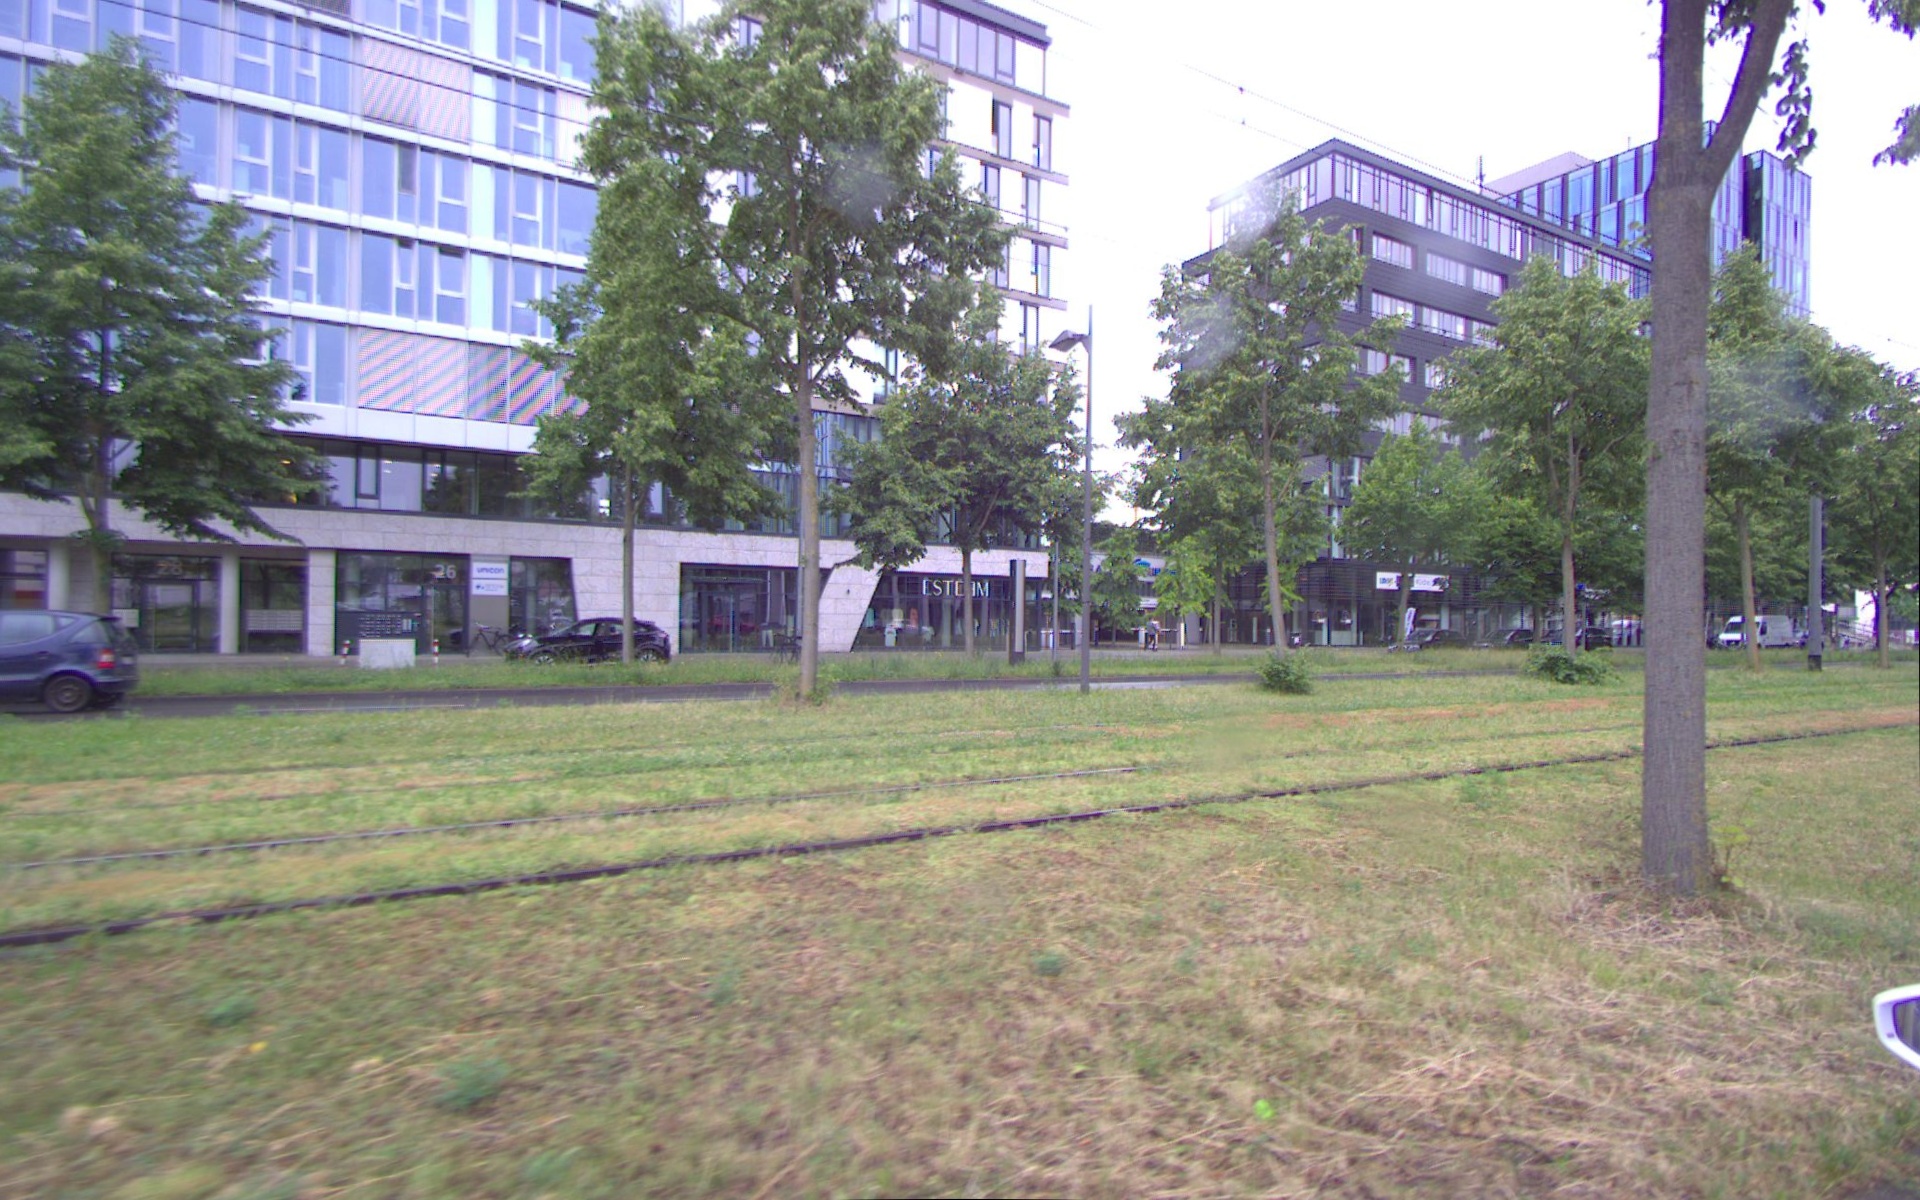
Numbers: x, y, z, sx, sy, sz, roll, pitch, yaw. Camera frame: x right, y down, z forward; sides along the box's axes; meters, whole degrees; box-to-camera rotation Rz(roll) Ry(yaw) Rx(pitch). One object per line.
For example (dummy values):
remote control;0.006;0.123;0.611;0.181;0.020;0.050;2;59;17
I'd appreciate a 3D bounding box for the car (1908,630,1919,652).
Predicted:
car;71.211;2.980;71.830;4.593;1.542;1.998;1;0;26

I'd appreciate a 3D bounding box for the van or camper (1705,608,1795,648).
van or camper;48.424;1.718;61.549;5.782;2.346;2.421;1;0;-31

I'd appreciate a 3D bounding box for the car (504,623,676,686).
car;-9.630;1.374;26.188;3.943;1.484;1.845;1;-1;-31

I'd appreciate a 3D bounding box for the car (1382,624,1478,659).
car;20.720;1.810;44.255;3.954;1.397;1.984;1;0;-31

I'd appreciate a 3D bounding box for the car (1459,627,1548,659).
car;25.926;2.035;47.899;3.954;1.397;1.984;1;0;-31

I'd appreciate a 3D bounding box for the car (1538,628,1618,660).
car;31.049;2.192;50.439;4.192;1.469;1.693;1;0;-31

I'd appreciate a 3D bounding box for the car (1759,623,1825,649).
car;53.499;2.304;64.559;4.556;1.542;1.983;1;-1;-32

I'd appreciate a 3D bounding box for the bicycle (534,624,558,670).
bicycle;-14.211;1.608;34.496;0.540;1.502;1.424;1;0;-31

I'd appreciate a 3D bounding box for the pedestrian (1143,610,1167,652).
pedestrian;9.510;1.515;48.920;0.844;2.007;0.793;1;0;-23

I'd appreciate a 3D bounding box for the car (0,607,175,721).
car;-14.831;0.960;15.691;3.649;1.678;1.988;1;-1;-25
